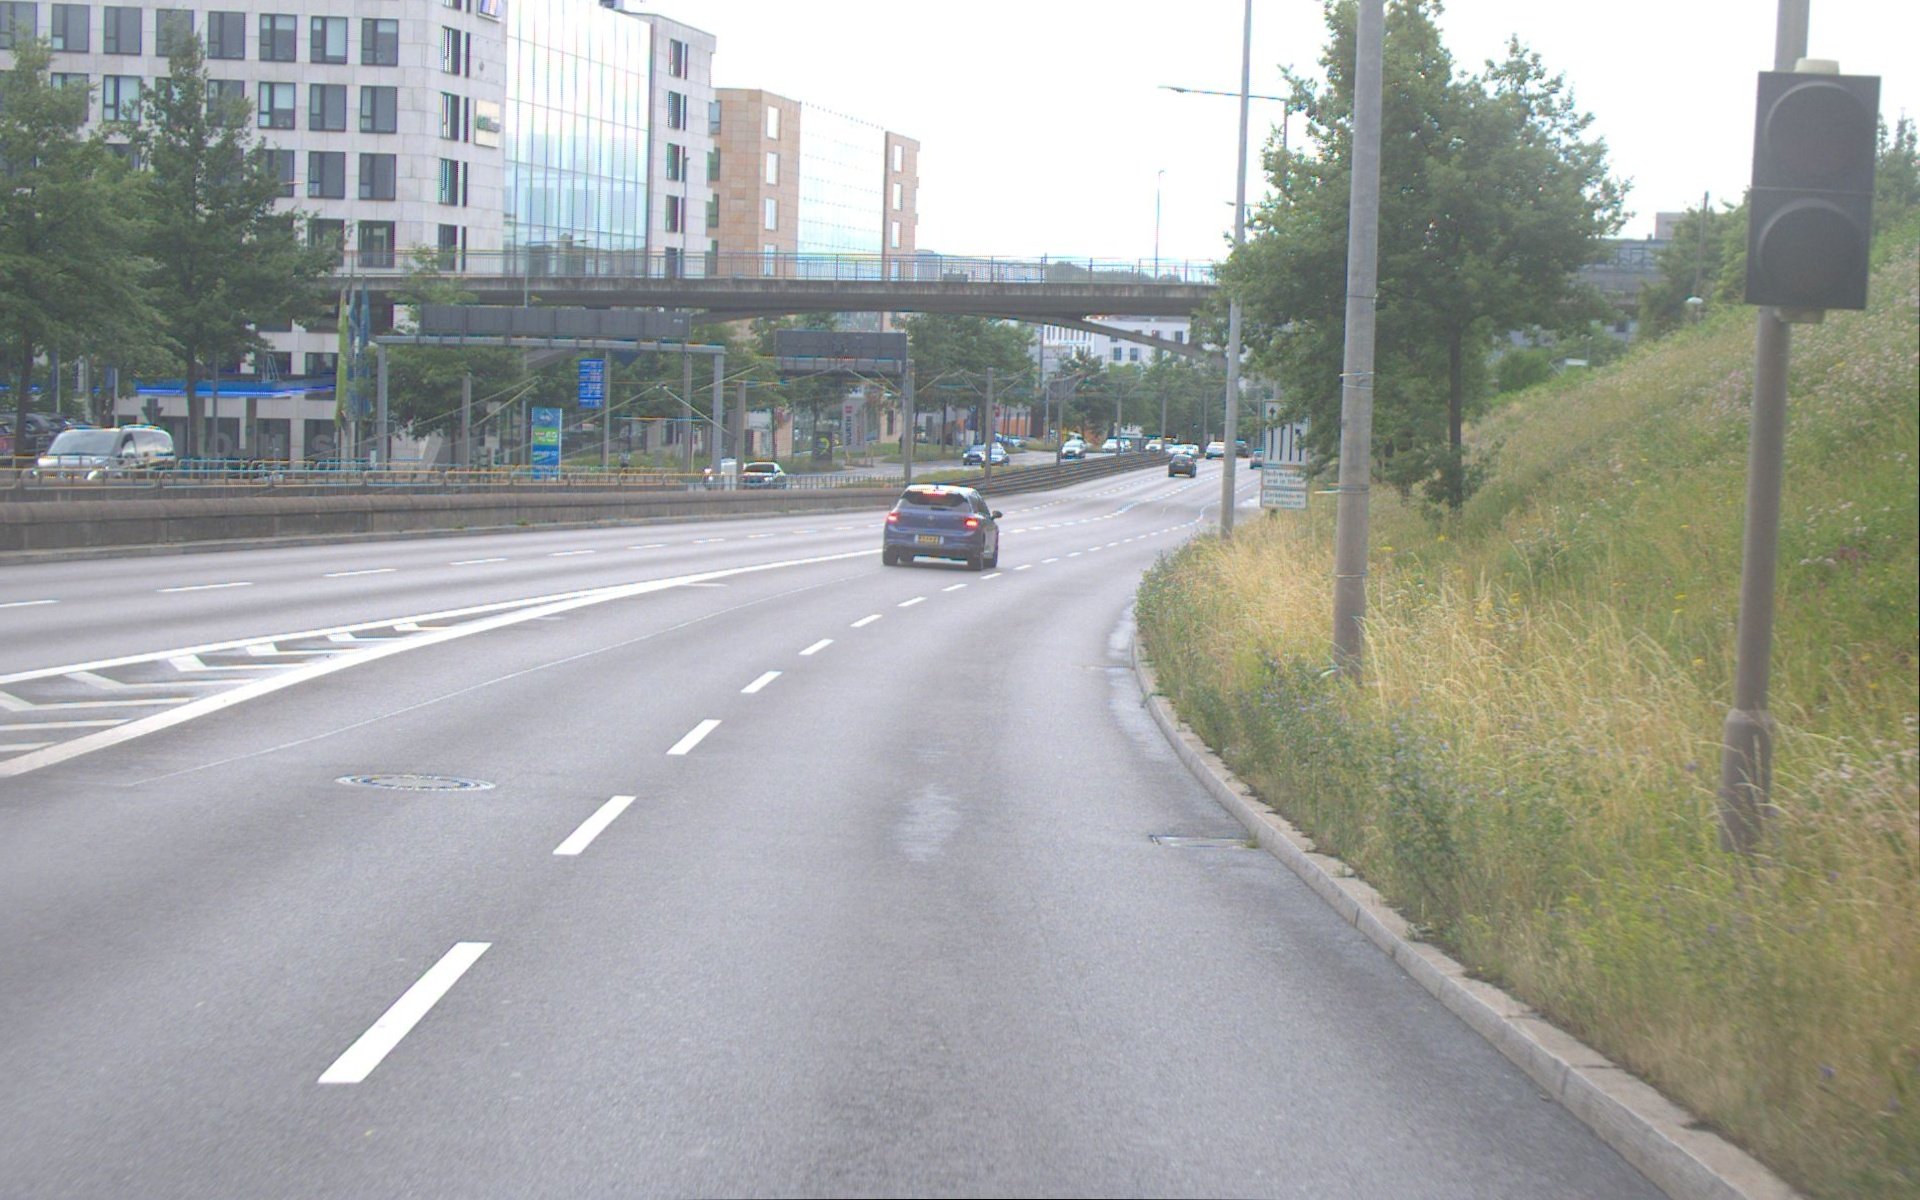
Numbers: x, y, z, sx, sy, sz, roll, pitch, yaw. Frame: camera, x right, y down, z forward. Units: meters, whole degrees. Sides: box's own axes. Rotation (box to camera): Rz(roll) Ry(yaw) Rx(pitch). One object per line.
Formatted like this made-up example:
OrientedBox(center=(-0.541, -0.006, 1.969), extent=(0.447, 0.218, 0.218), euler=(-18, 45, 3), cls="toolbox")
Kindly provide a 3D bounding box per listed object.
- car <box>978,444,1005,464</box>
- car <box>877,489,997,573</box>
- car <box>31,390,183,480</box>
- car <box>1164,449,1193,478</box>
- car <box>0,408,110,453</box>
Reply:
OrientedBox(center=(2.301, -10.633, 250.071), extent=(1.518, 1.415, 3.478), euler=(3, 3, 6), cls="car")
OrientedBox(center=(-0.384, -1.253, 61.366), extent=(1.749, 1.415, 3.478), euler=(1, 2, 6), cls="car")
OrientedBox(center=(-19.028, -3.720, 76.820), extent=(1.994, 1.743, 4.000), euler=(4, 5, 5), cls="car")
OrientedBox(center=(15.486, -9.662, 243.731), extent=(1.863, 1.743, 4.001), euler=(4, 5, 3), cls="car")
OrientedBox(center=(-33.140, -6.162, 124.712), extent=(3.988, 1.349, 1.849), euler=(5, 3, 9), cls="car")
